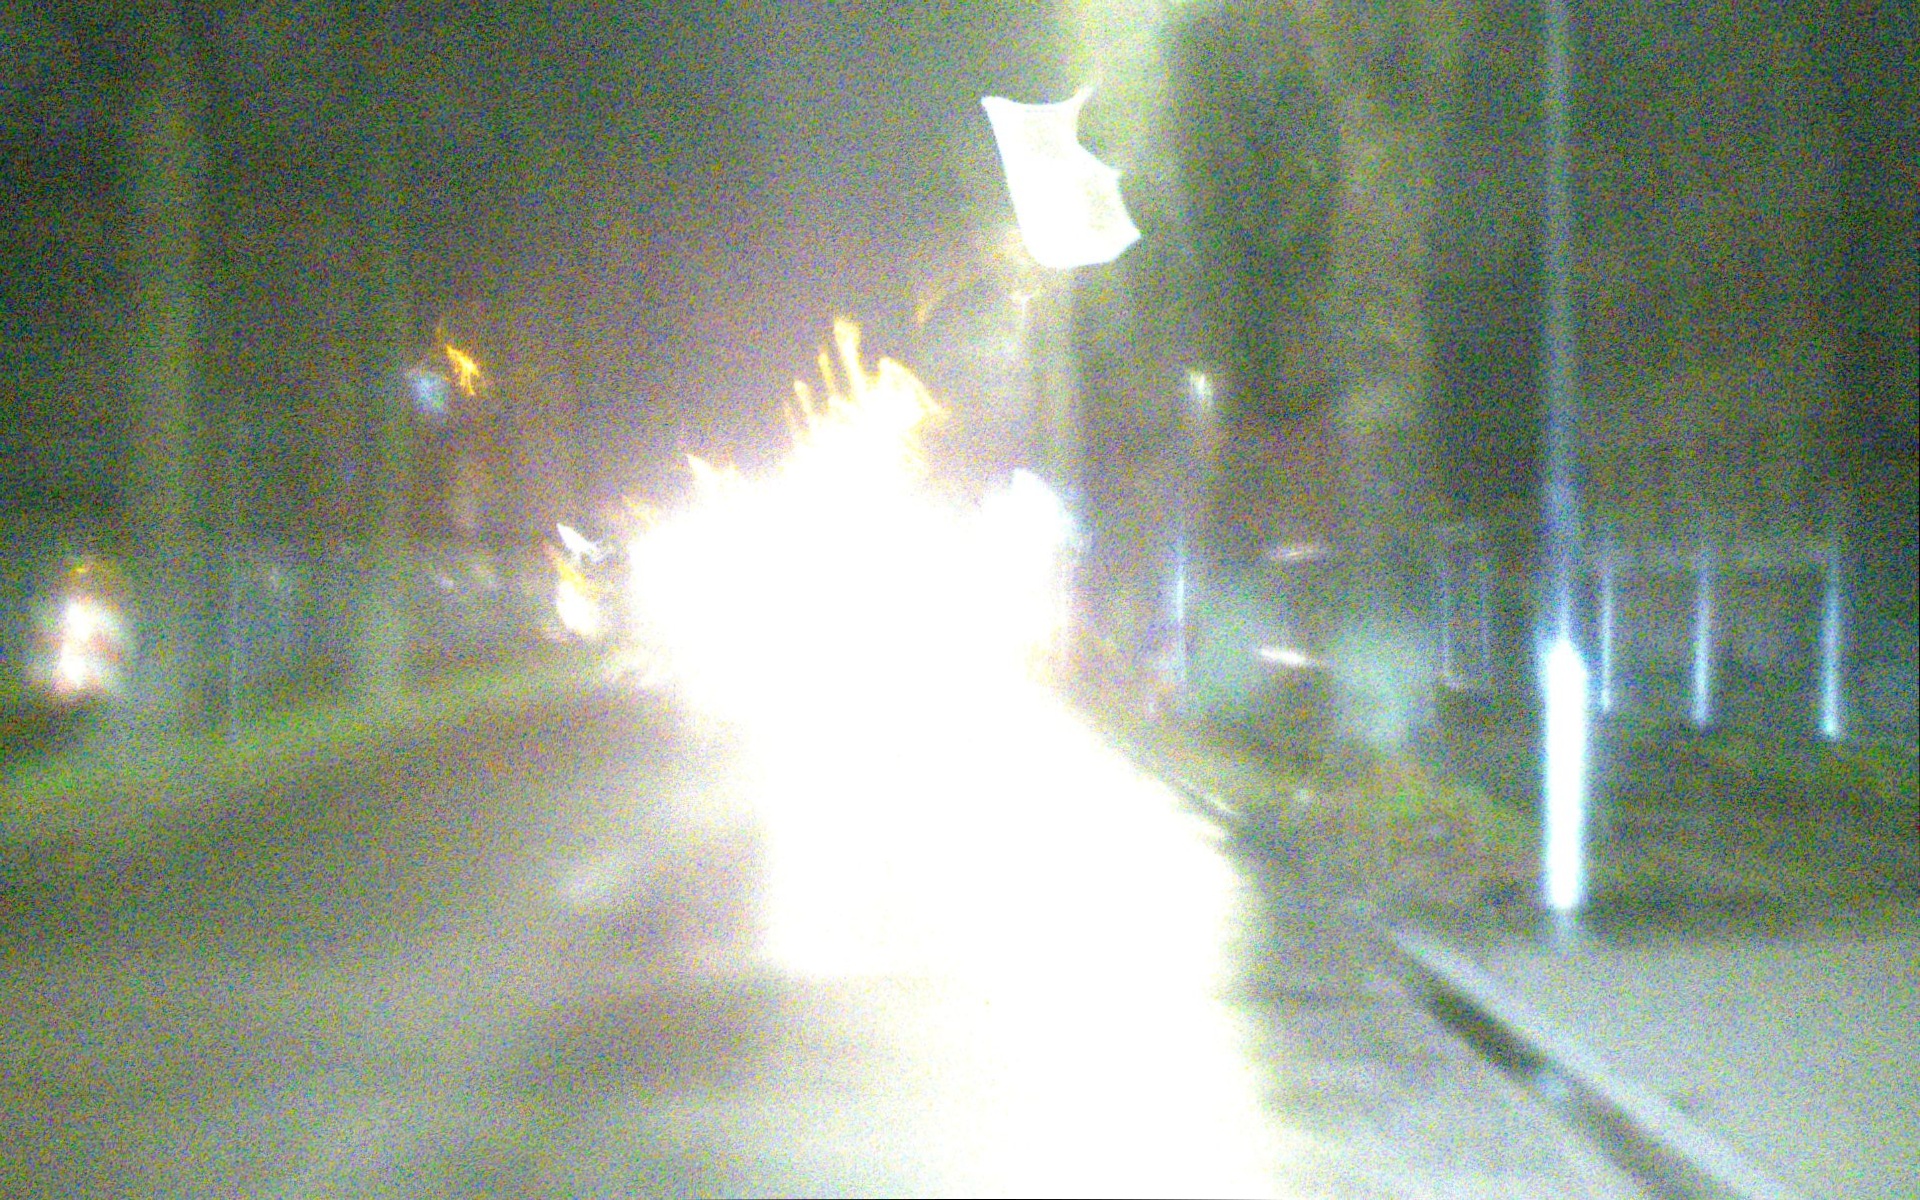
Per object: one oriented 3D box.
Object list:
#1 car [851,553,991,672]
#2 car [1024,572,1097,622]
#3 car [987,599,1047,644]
[{"bbox_3d":[-0.631,0.156,52.454,1.993,1.678,4.001,1,1,-2],"label":"car"},{"bbox_3d":[3.139,-0.113,107.972,1.789,1.444,4.791,-2,1,-4],"label":"car"},{"bbox_3d":[1.949,0.726,118.803,1.713,1.484,4.437,-1,0,-4],"label":"car"}]
